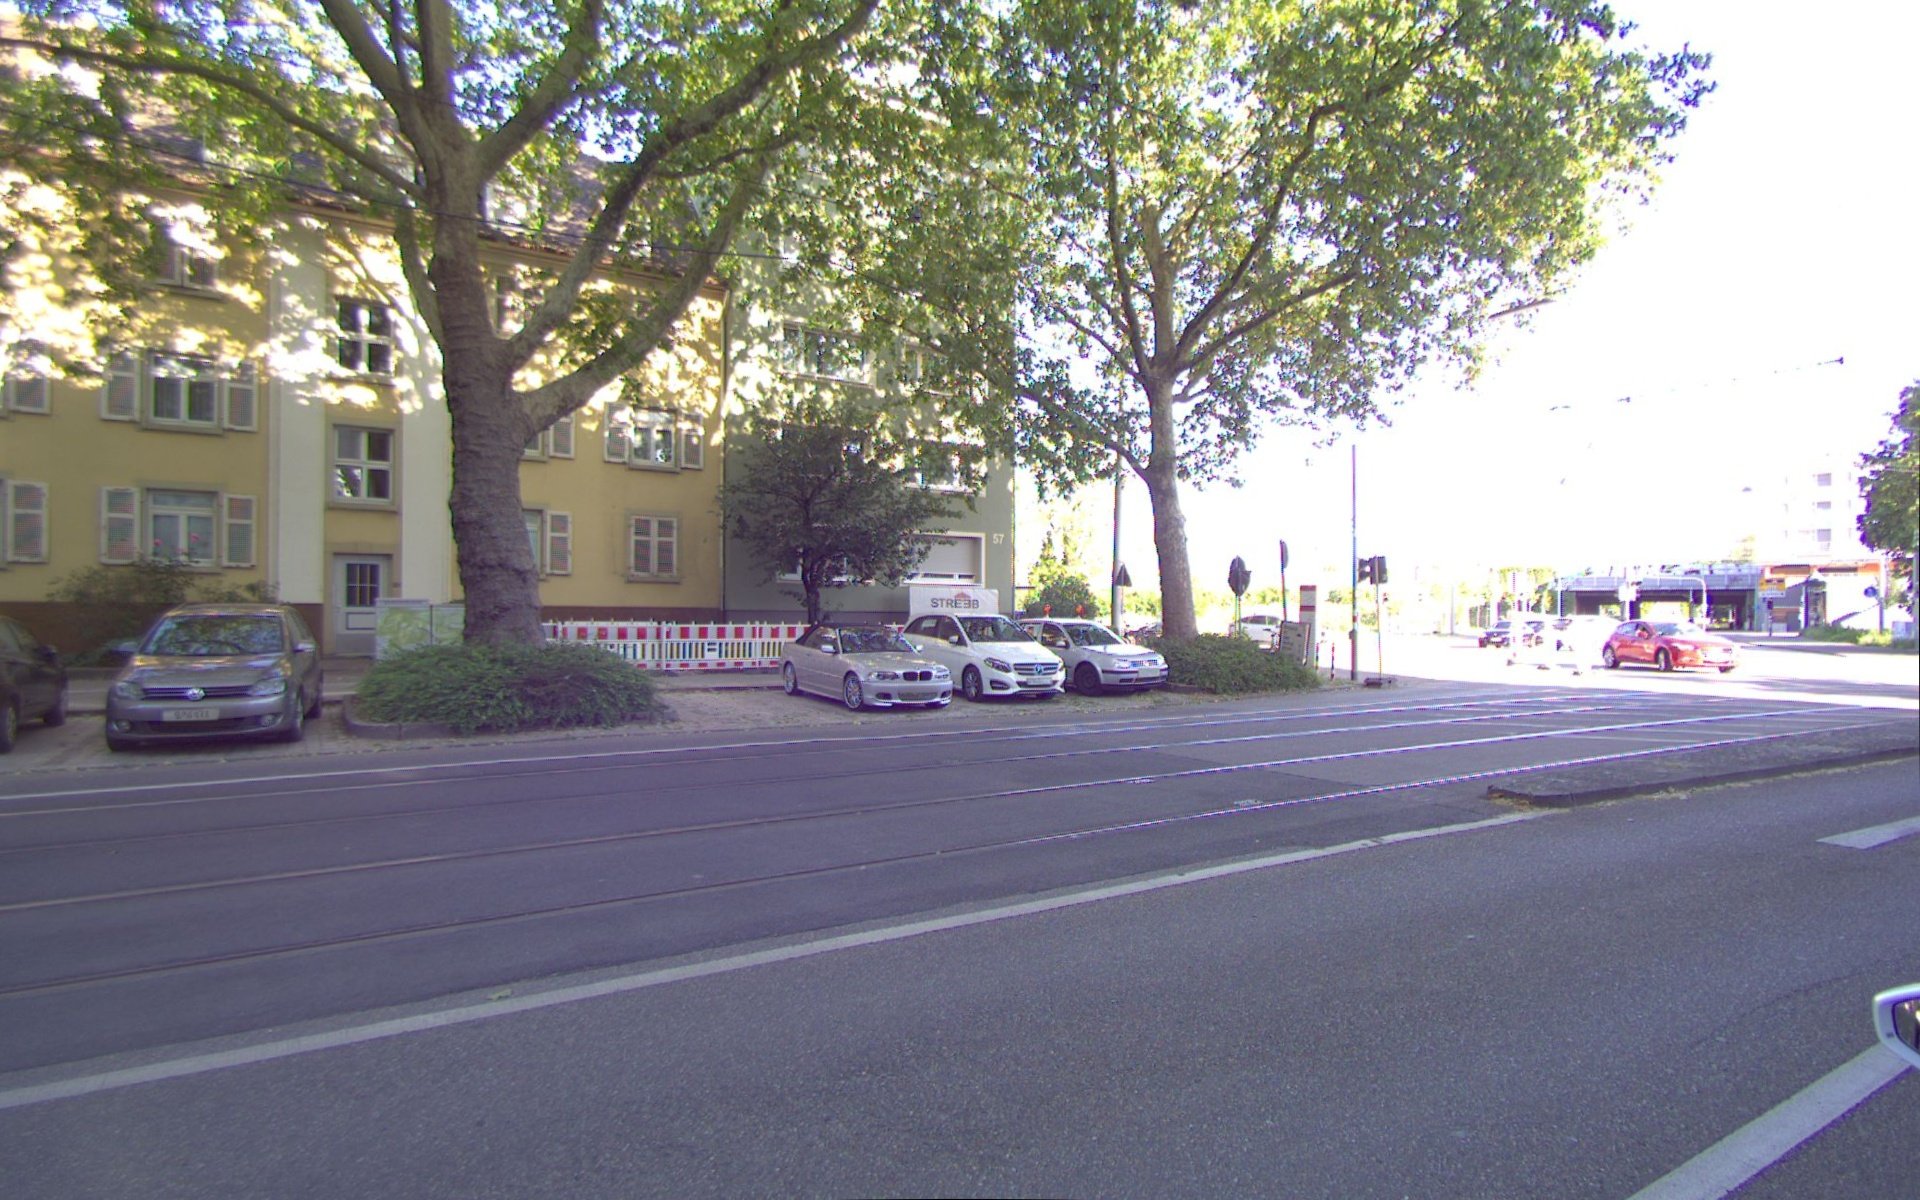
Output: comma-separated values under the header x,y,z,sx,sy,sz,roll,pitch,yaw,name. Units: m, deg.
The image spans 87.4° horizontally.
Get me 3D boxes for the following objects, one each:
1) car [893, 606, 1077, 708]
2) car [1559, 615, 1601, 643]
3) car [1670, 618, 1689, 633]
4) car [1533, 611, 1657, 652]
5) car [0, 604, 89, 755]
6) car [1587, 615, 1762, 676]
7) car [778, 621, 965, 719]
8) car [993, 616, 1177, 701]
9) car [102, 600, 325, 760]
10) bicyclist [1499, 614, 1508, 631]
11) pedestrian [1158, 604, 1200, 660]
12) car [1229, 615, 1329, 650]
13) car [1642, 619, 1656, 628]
x,y,z,sx,sy,sz,roll,pitch,yaw,name
0.356,0.983,19.157,1.651,1.669,3.949,1,0,-31,car
38.293,1.790,61.996,1.860,1.606,3.823,2,0,37,car
83.524,2.979,116.667,1.731,1.706,3.729,2,0,36,car
27.099,1.340,42.962,4.118,1.572,1.996,2,0,-6,car
-11.459,0.833,11.388,1.652,1.518,3.778,1,0,-29,car
20.458,1.241,29.045,1.982,1.586,4.493,0,-1,2,car
-1.644,1.109,17.312,1.651,1.370,3.949,1,0,-31,car
2.447,1.110,20.531,1.651,1.473,3.949,1,0,-31,car
-8.993,0.832,12.420,1.652,1.602,3.953,1,0,-29,car
39.791,1.611,73.564,0.519,1.239,0.528,0,0,37,bicyclist
6.782,0.988,31.166,0.919,1.669,0.841,2,0,-30,pedestrian
14.797,1.475,46.612,4.134,1.539,1.799,0,0,33,car
108.173,3.660,157.685,1.555,1.277,3.421,0,-1,30,car
